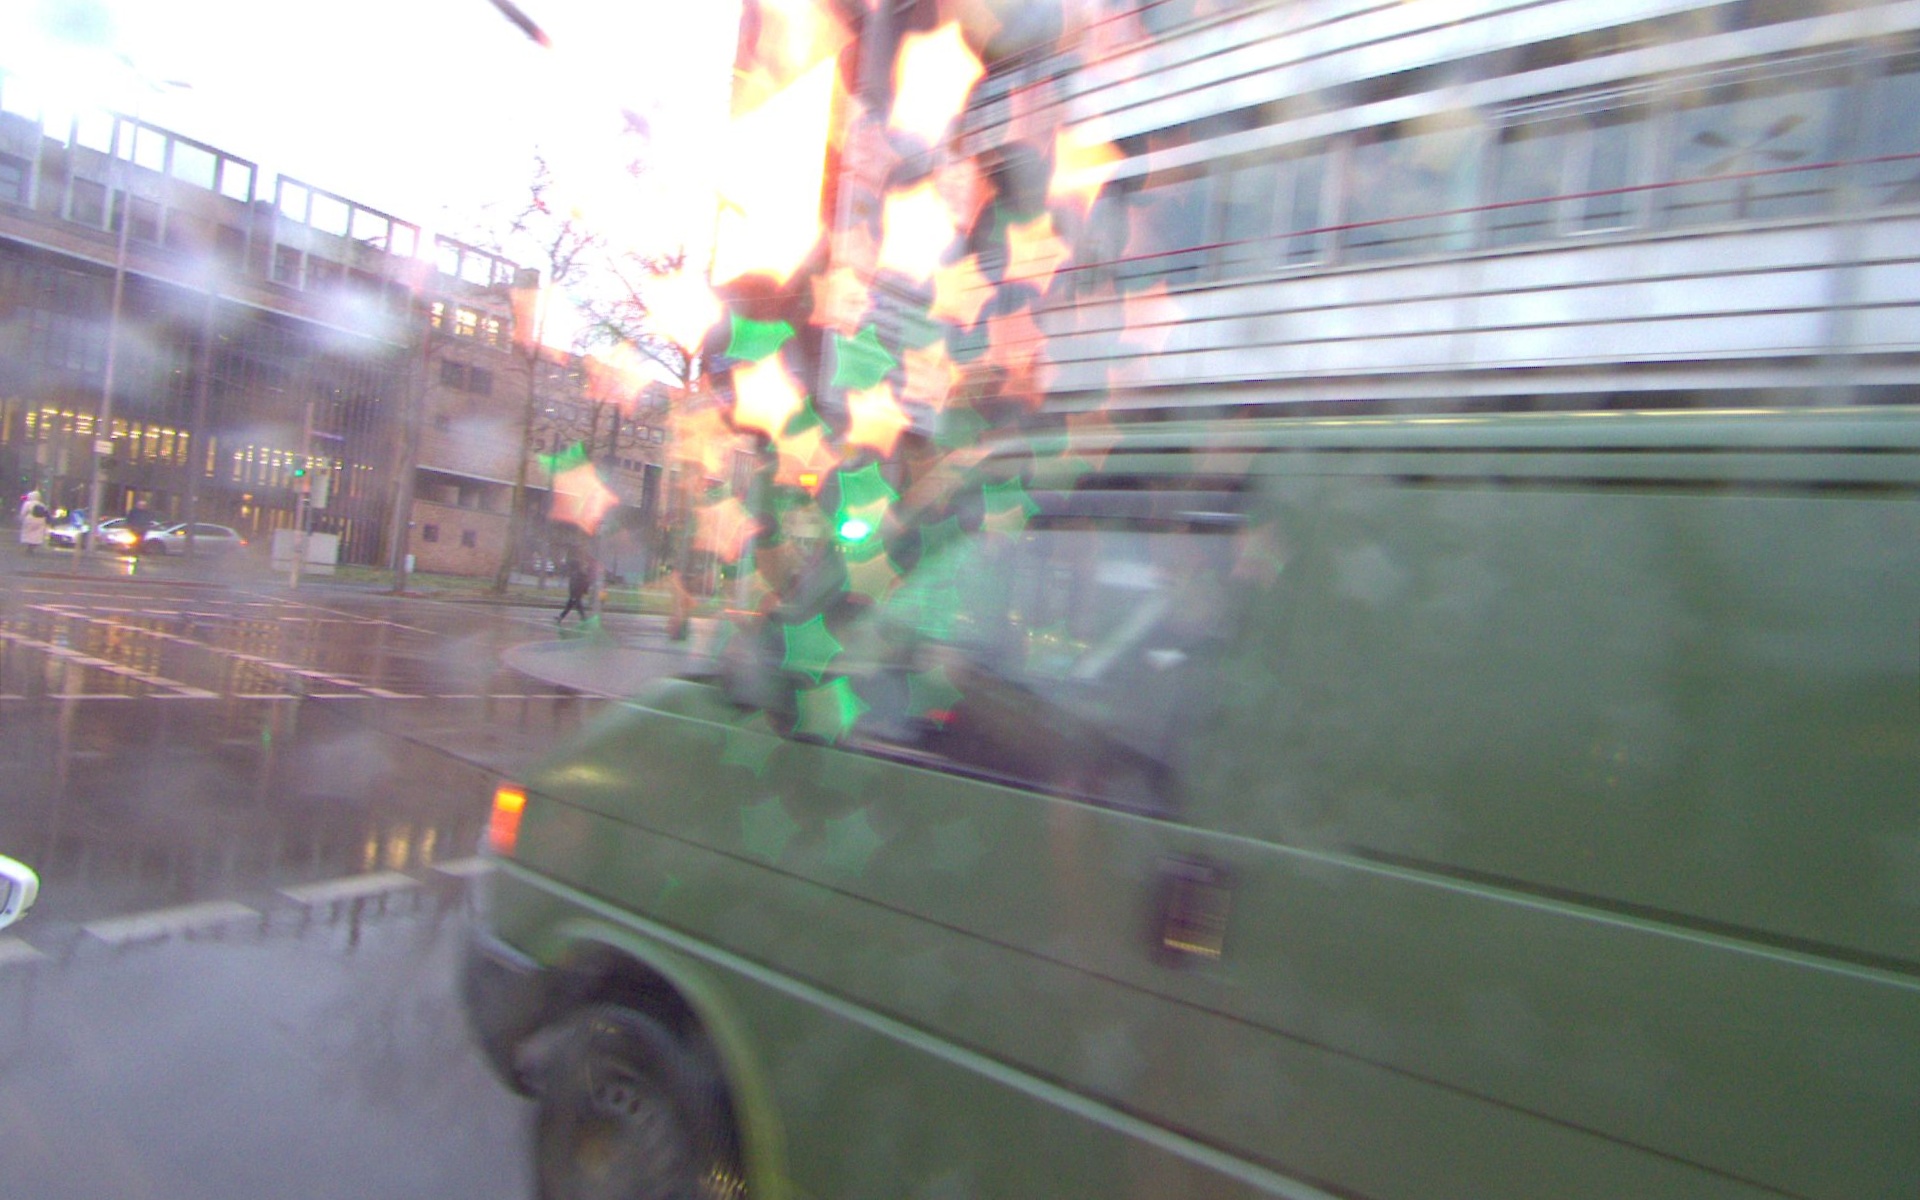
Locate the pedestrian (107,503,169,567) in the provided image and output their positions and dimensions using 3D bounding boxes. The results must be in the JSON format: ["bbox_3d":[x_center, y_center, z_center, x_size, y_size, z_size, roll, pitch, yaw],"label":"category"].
[{"bbox_3d":[-25.334,-1.997,31.020,0.763,1.809,1.152,6,0,23],"label":"pedestrian"}]

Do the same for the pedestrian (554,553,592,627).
[{"bbox_3d":[-10.046,-0.260,26.140,0.640,1.833,0.798,6,1,-11],"label":"pedestrian"}]

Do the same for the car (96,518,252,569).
[{"bbox_3d":[-28.054,-1.976,36.038,1.782,1.358,3.989,6,1,25],"label":"car"}]

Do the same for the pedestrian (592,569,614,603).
[{"bbox_3d":[-15.058,-0.589,42.425,0.470,1.381,0.606,7,1,30],"label":"pedestrian"}]

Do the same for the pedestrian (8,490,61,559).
[{"bbox_3d":[-26.161,-2.136,28.438,0.721,1.809,0.736,6,1,19],"label":"pedestrian"}]

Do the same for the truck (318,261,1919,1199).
[{"bbox_3d":[0.943,0.681,2.050,4.541,1.939,1.908,6,-2,33],"label":"truck"}]

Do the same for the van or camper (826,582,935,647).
[{"bbox_3d":[-2.825,0.592,36.842,1.808,1.952,4.747,6,-1,23],"label":"van or camper"}]

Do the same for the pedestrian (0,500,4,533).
[{"bbox_3d":[-41.327,-3.598,42.846,0.727,1.406,0.735,7,0,43],"label":"pedestrian"}]

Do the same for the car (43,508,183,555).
[{"bbox_3d":[-35.062,-2.803,41.772,1.782,1.326,3.993,6,-1,24],"label":"car"}]
